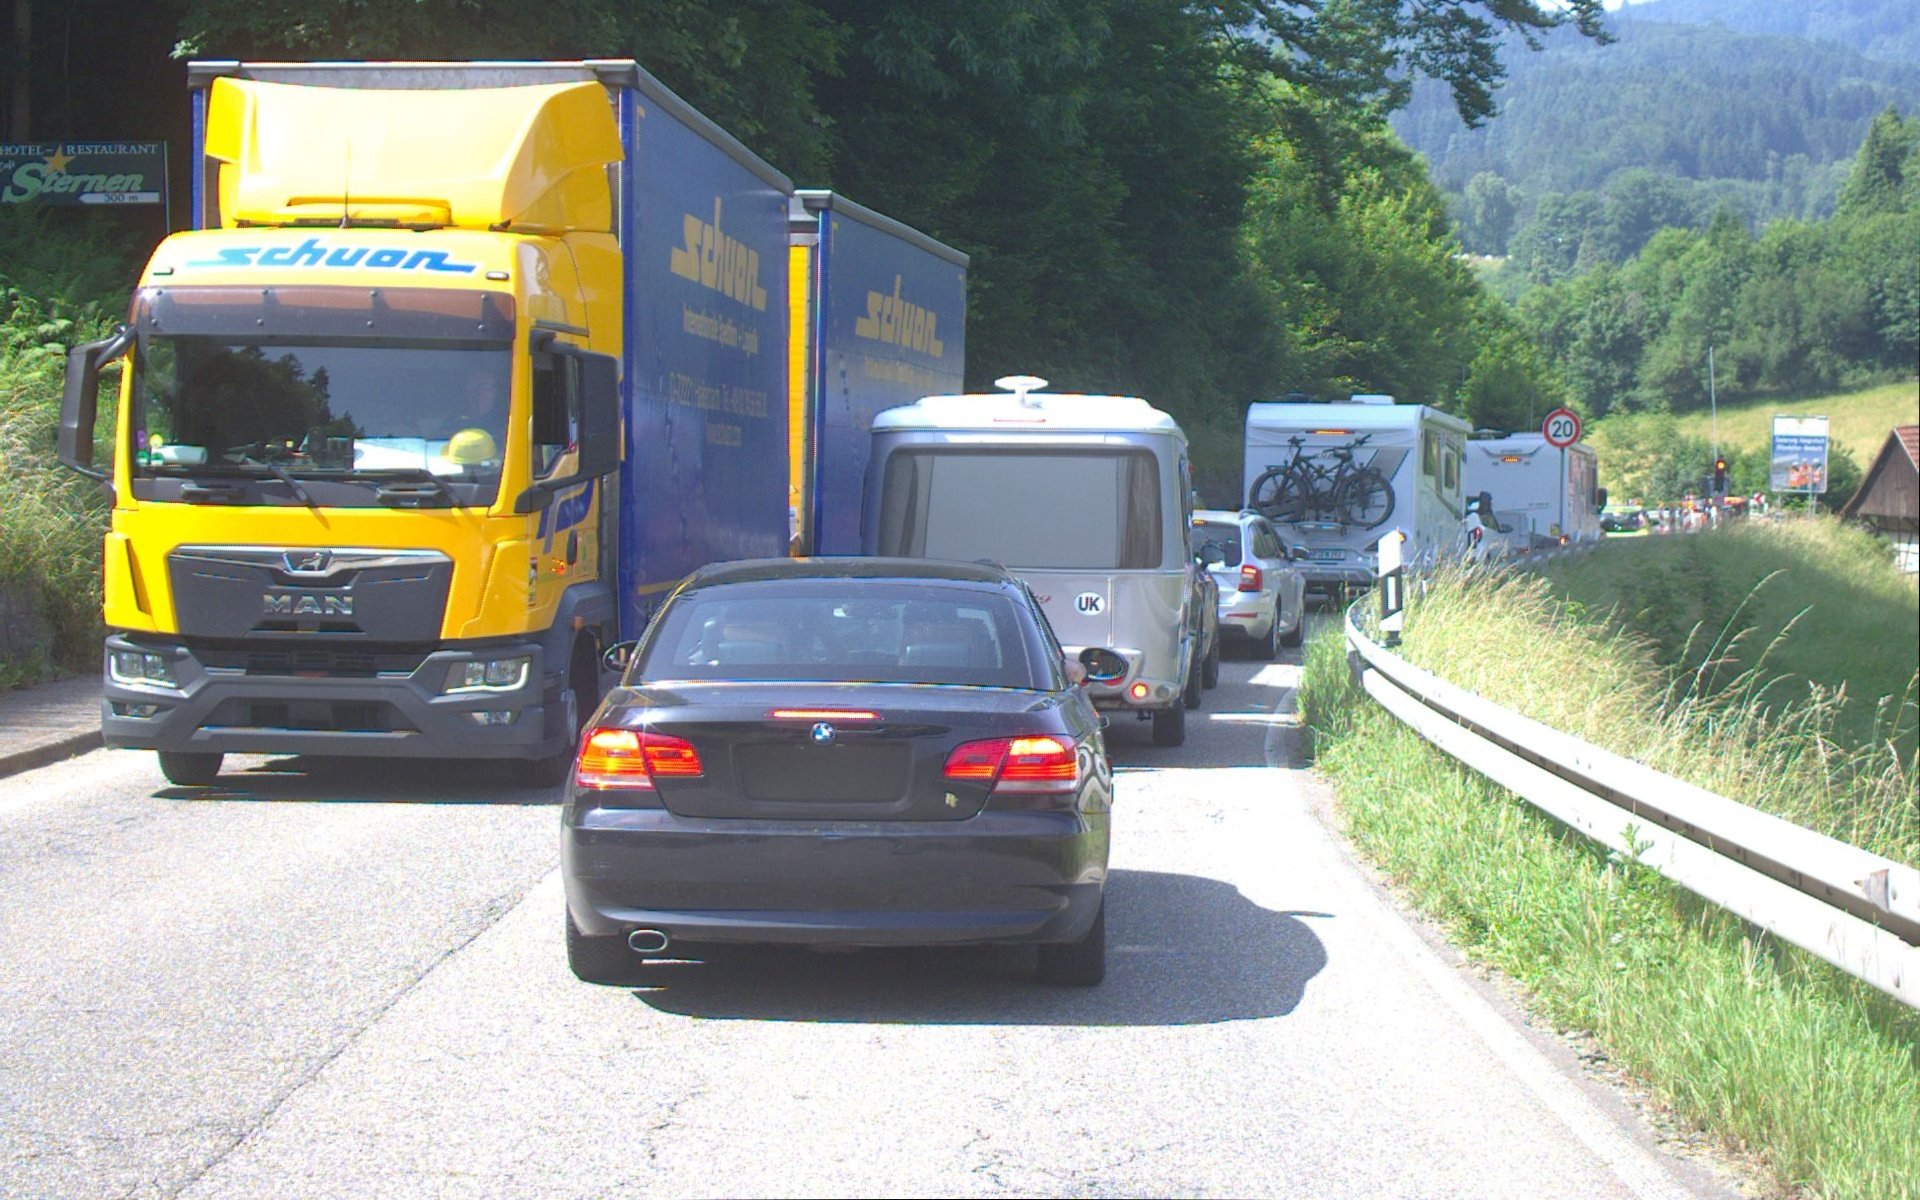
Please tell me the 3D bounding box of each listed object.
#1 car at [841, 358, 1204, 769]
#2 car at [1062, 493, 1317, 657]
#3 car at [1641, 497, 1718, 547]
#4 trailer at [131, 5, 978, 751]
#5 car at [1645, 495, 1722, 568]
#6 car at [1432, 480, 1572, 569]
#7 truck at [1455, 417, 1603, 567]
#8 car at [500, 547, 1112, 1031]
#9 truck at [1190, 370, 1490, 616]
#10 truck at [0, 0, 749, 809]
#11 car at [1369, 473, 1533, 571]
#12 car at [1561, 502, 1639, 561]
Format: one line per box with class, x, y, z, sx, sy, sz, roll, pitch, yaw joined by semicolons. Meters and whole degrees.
car;0.530;-0.298;22.376;1.994;2.345;4.913;1;2;5
car;2.385;-0.295;34.797;1.994;1.479;3.998;3;2;11
car;24.544;-2.647;117.185;1.995;1.570;3.996;2;1;20
trailer;-2.426;-1.632;28.180;3.260;4.402;15.313;2;2;7
car;21.082;-1.978;100.079;1.995;1.919;3.998;4;1;13
car;9.816;-1.385;62.075;1.789;1.459;3.997;4;3;18
truck;11.401;-2.092;68.526;2.239;2.794;6.228;2;1;15
car;-0.375;0.525;11.970;1.771;1.331;3.767;1;2;3
truck;5.308;-1.479;46.925;2.793;2.987;6.863;3;3;16
truck;-3.379;-1.335;20.586;3.189;4.381;6.571;2;3;5
car;8.118;-1.313;56.553;1.995;1.459;3.997;3;3;17
car;16.923;-1.790;90.774;1.907;1.481;3.998;2;1;12
